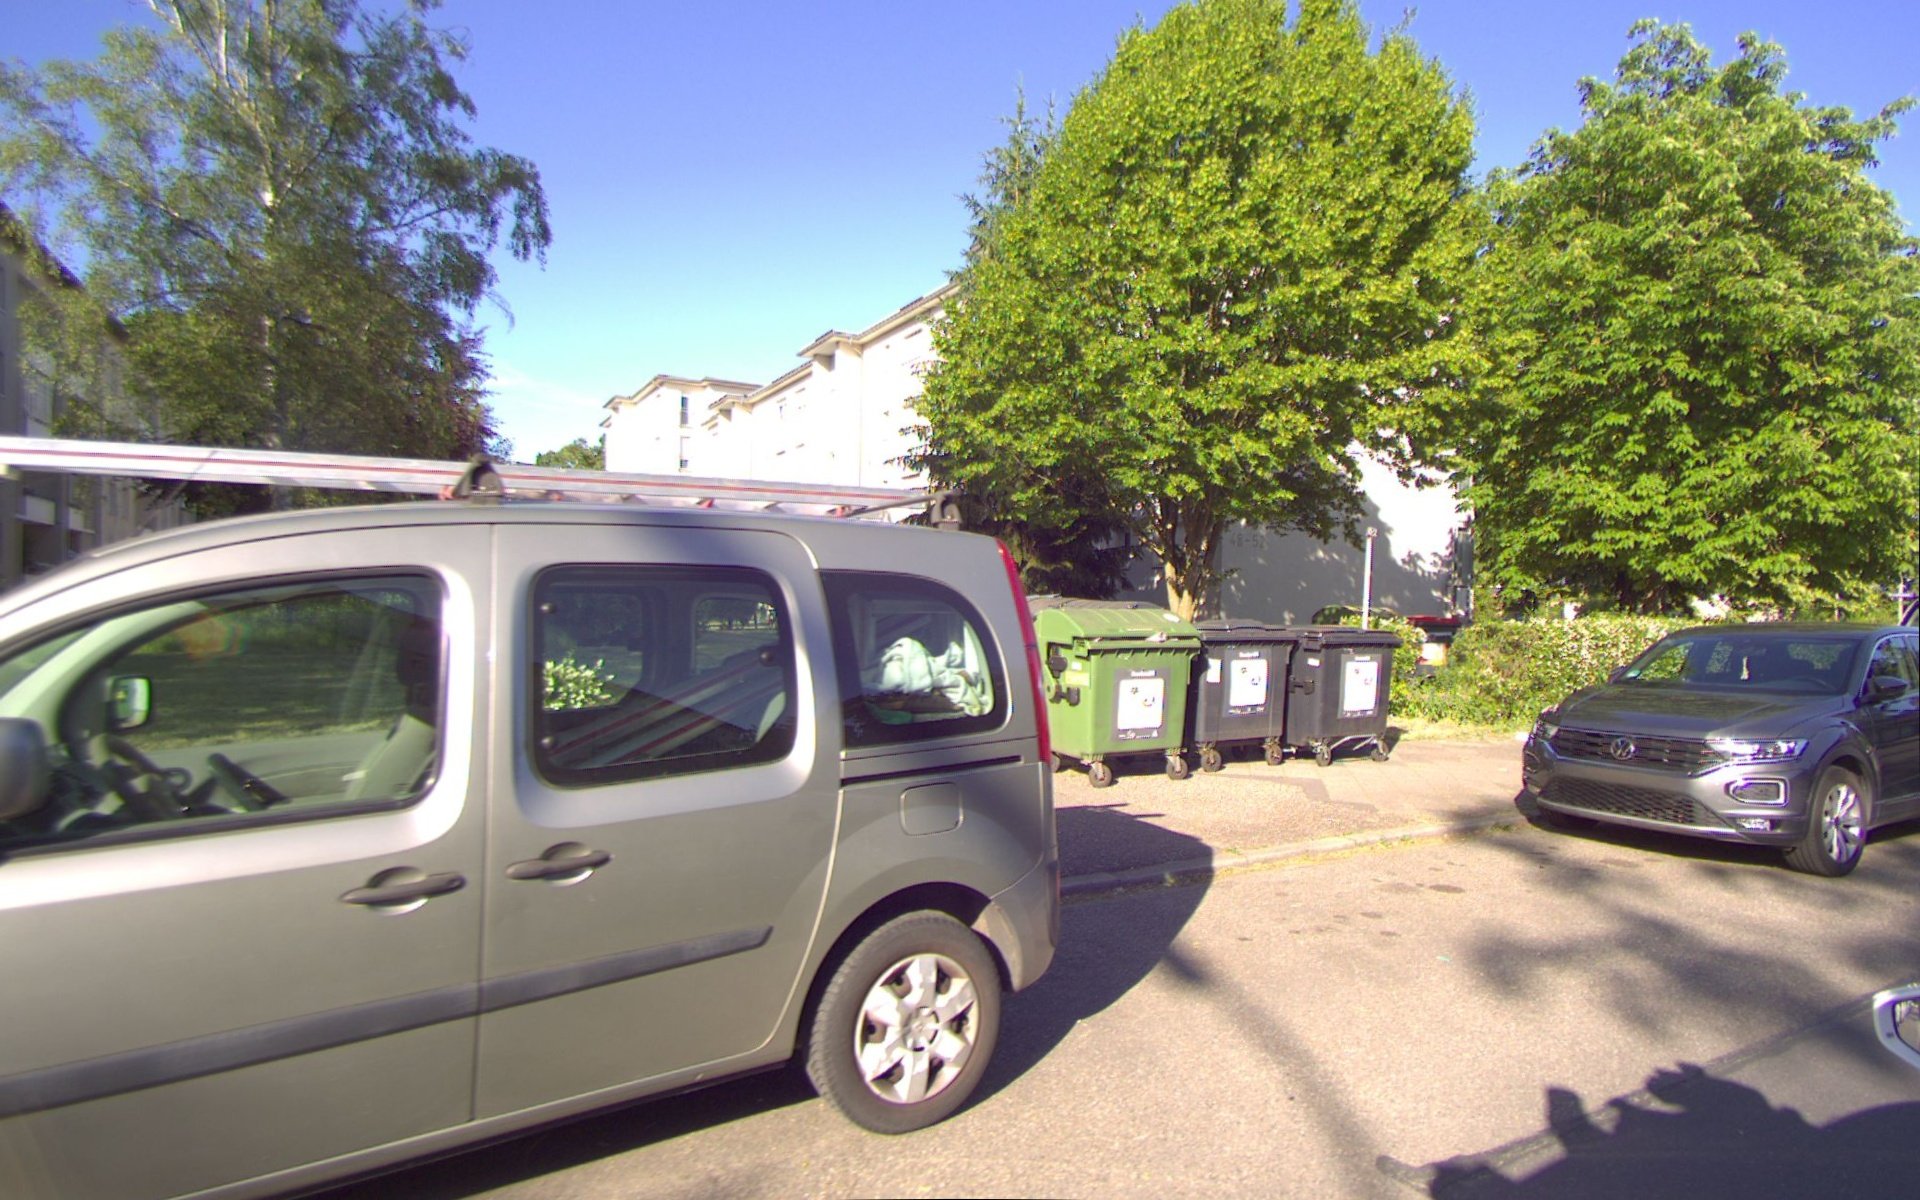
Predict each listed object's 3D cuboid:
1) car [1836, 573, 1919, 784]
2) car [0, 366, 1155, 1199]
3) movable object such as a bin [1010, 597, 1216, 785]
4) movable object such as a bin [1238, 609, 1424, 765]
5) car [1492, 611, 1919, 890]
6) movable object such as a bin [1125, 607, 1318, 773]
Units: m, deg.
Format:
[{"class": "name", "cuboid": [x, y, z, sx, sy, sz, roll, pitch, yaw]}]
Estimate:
[{"class": "car", "cuboid": [11.381, 0.788, 10.474, 5.027, 1.988, 1.906, 1, -1, -30]}, {"class": "car", "cuboid": [-1.692, 0.562, 2.902, 4.369, 1.917, 1.844, 1, -1, -32]}, {"class": "movable object such as a bin", "cuboid": [1.316, 0.730, 8.758, 1.344, 1.440, 1.096, 1, 3, -30]}, {"class": "movable object such as a bin", "cuboid": [3.718, 0.823, 10.100, 1.344, 1.375, 1.096, 1, 3, -30]}, {"class": "car", "cuboid": [5.979, 0.887, 7.338, 4.087, 1.554, 1.739, 1, -1, -28]}, {"class": "movable object such as a bin", "cuboid": [2.470, 0.799, 9.546, 1.344, 1.390, 1.096, 1, 3, -30]}]
